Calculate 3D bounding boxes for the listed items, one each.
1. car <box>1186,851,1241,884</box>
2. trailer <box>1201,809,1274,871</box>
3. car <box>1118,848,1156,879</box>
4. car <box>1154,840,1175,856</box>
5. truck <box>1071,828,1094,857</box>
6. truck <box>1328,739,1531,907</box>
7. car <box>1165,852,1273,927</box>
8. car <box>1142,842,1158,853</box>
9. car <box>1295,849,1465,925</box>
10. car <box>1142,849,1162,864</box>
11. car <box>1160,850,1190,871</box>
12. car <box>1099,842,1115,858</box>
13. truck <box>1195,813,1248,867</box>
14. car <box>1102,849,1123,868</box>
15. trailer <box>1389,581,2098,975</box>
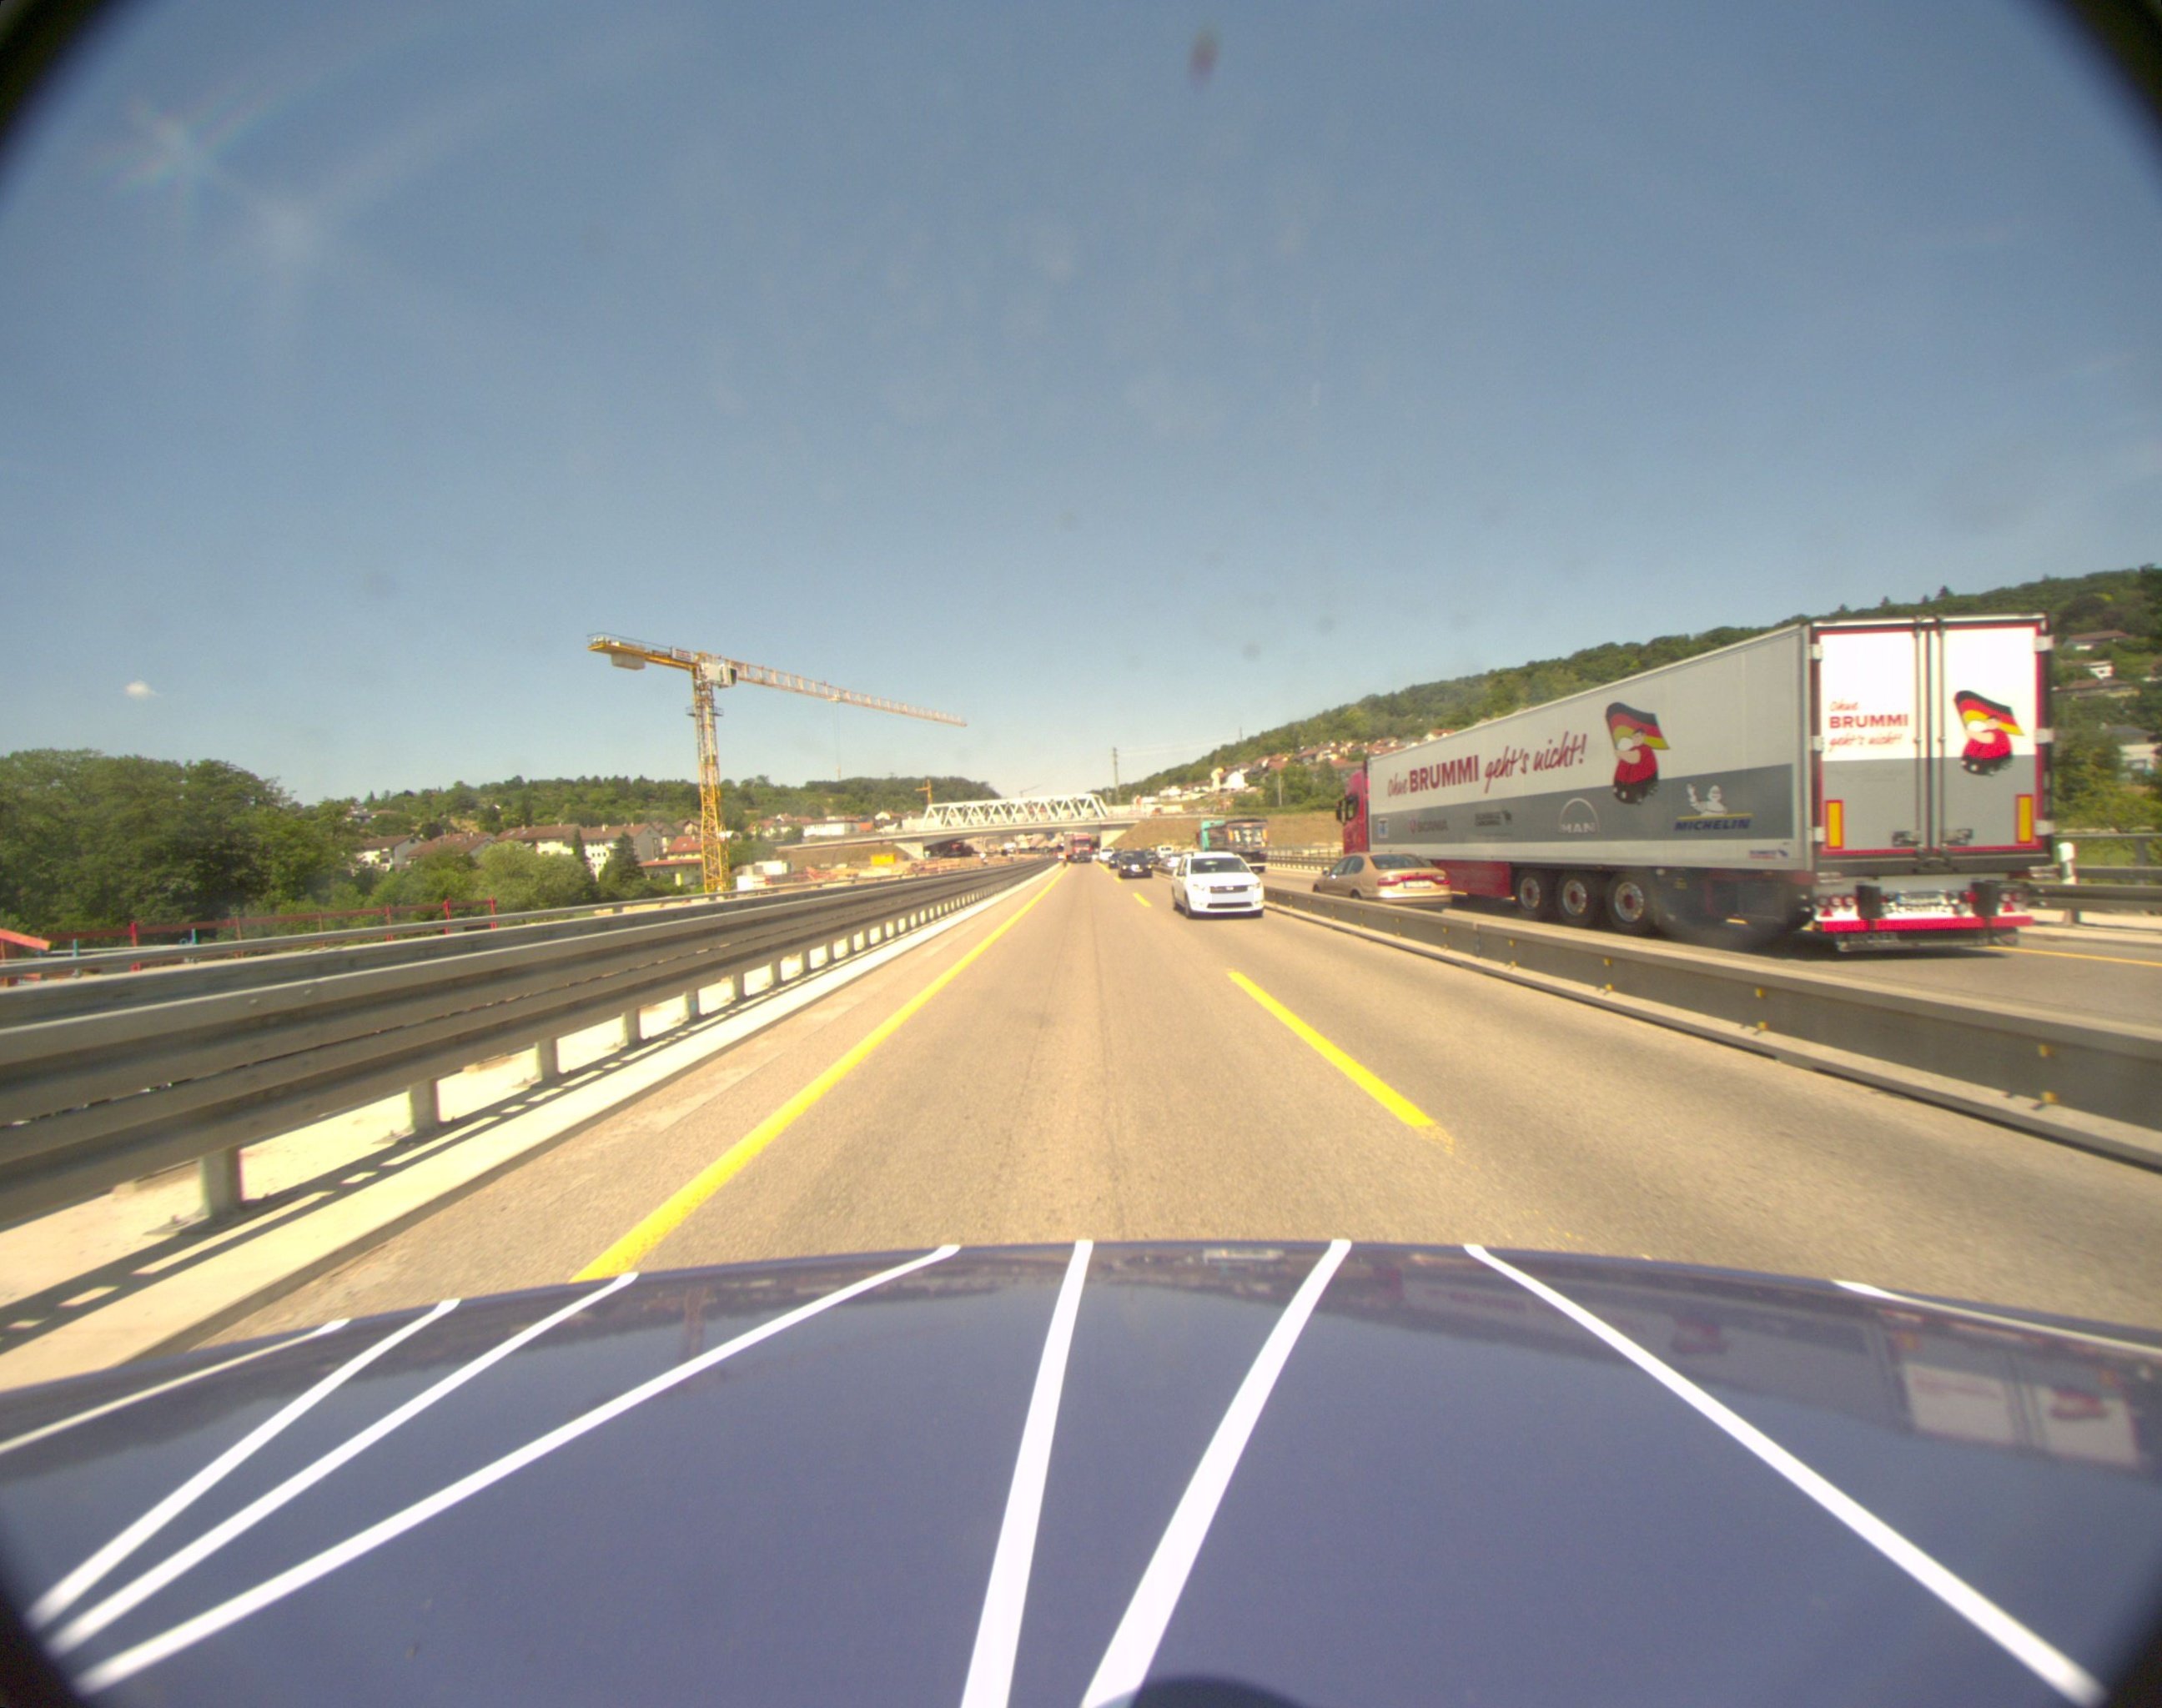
[{"bbox_3d":[6.551,0.623,38.057,1.894,1.479,4.919,-3,0,1],"label":"car"},{"bbox_3d":[10.142,-0.884,50.291,2.801,3.651,8.955,-2,1,0],"label":"trailer"},{"bbox_3d":[3.312,0.541,45.589,1.862,1.683,4.097,-2,0,-1],"label":"car"},{"bbox_3d":[10.465,-0.749,95.213,1.864,1.856,4.627,-1,0,-4],"label":"car"},{"bbox_3d":[0.290,-1.577,103.509,2.702,3.705,8.507,-2,1,2],"label":"truck"},{"bbox_3d":[9.645,-0.755,21.975,2.823,4.013,6.522,-2,0,1],"label":"truck"},{"bbox_3d":[3.242,0.757,18.717,1.823,1.521,4.706,-3,0,1],"label":"car"},{"bbox_3d":[10.401,-0.919,114.620,1.819,1.560,3.998,-1,0,-4],"label":"car"},{"bbox_3d":[6.335,0.645,16.669,1.906,1.453,4.193,0,0,-3],"label":"car"},{"bbox_3d":[7.002,0.260,74.998,1.635,1.400,4.103,0,0,0],"label":"car"},{"bbox_3d":[6.554,0.447,53.428,1.785,1.372,4.712,0,0,3],"label":"car"},{"bbox_3d":[3.217,-0.476,94.936,1.791,1.871,4.000,-4,0,2],"label":"car"},{"bbox_3d":[10.137,-1.009,55.363,2.804,3.701,5.373,-2,1,0],"label":"truck"},{"bbox_3d":[2.919,0.412,70.030,1.791,1.578,4.000,-4,0,2],"label":"car"},{"bbox_3d":[9.557,-0.796,14.115,2.813,4.152,11.798,-2,0,0],"label":"trailer"}]
